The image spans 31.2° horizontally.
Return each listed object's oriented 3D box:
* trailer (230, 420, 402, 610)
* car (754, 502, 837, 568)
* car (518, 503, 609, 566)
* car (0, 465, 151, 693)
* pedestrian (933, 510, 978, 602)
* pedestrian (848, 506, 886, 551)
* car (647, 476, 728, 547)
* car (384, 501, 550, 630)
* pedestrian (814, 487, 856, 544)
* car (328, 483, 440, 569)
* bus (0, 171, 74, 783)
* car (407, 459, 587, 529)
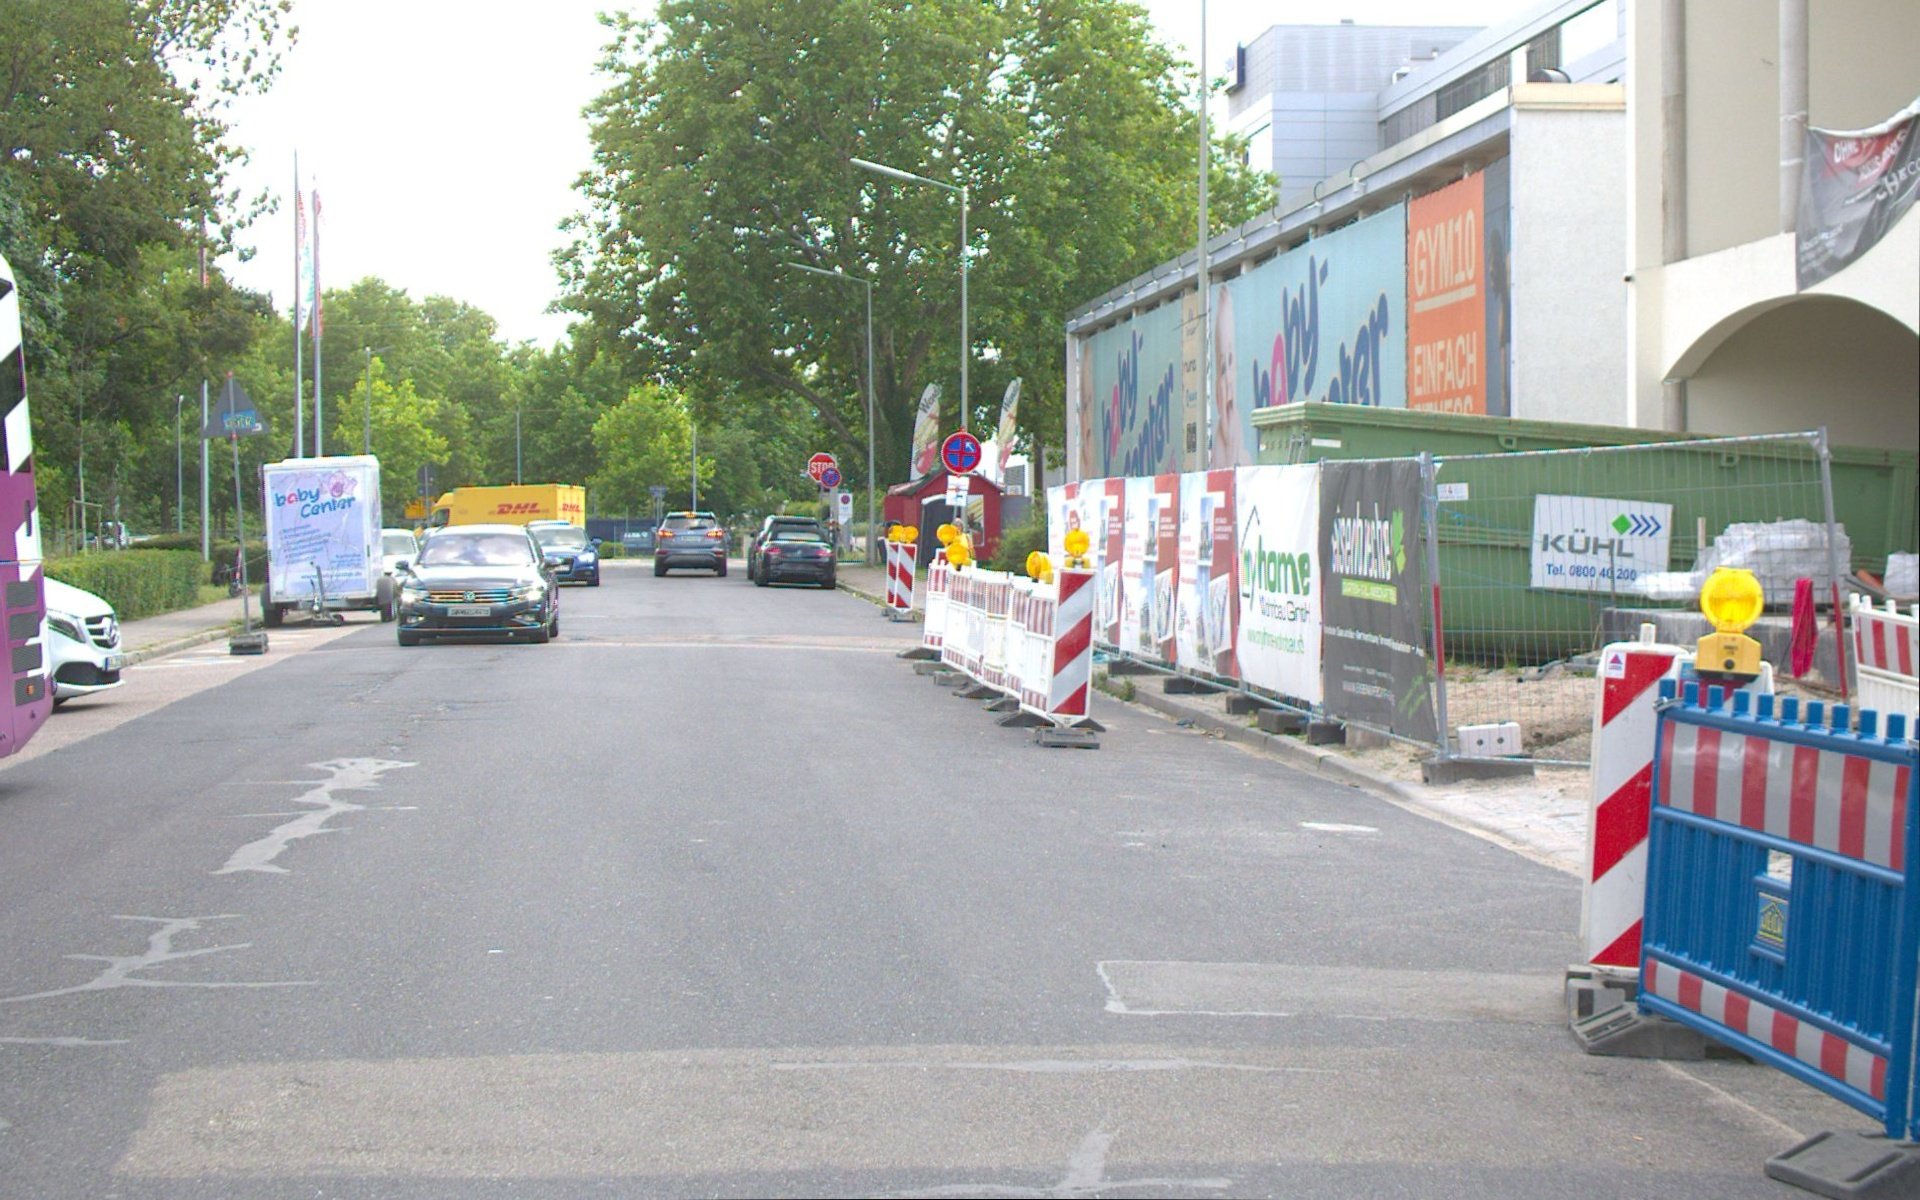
[{"bbox_3d":[-10.027,-1.367,53.861,2.139,2.773,4.704,-2,2,-5],"label":"trailer"},{"bbox_3d":[-3.857,-1.533,80.116,1.808,1.386,4.589,3,2,-4],"label":"car"},{"bbox_3d":[-9.083,-1.526,78.962,1.923,1.372,4.381,0,2,-5],"label":"car"},{"bbox_3d":[-9.871,-0.228,30.312,5.000,1.942,1.992,0,2,1],"label":"car"},{"bbox_3d":[-0.074,-0.755,58.246,0.681,1.528,1.130,0,2,-4],"label":"pedestrian"},{"bbox_3d":[-2.717,-2.092,100.470,1.014,1.309,0.964,1,2,3],"label":"pedestrian"},{"bbox_3d":[-7.251,-2.372,91.070,1.961,1.809,4.277,0,2,-7],"label":"car"},{"bbox_3d":[-6.145,-0.473,43.243,1.796,1.454,4.386,-1,2,-5],"label":"car"},{"bbox_3d":[-4.092,-2.770,112.274,1.000,1.843,1.230,0,2,-23],"label":"pedestrian"},{"bbox_3d":[-10.751,-1.411,64.371,1.765,1.474,4.236,-3,2,-6],"label":"car"},{"bbox_3d":[-6.266,-0.474,14.193,2.662,3.411,13.222,-3,2,-5],"label":"bus"},{"bbox_3d":[-17.202,-3.955,127.762,6.391,2.569,2.203,1,2,23],"label":"car"}]
